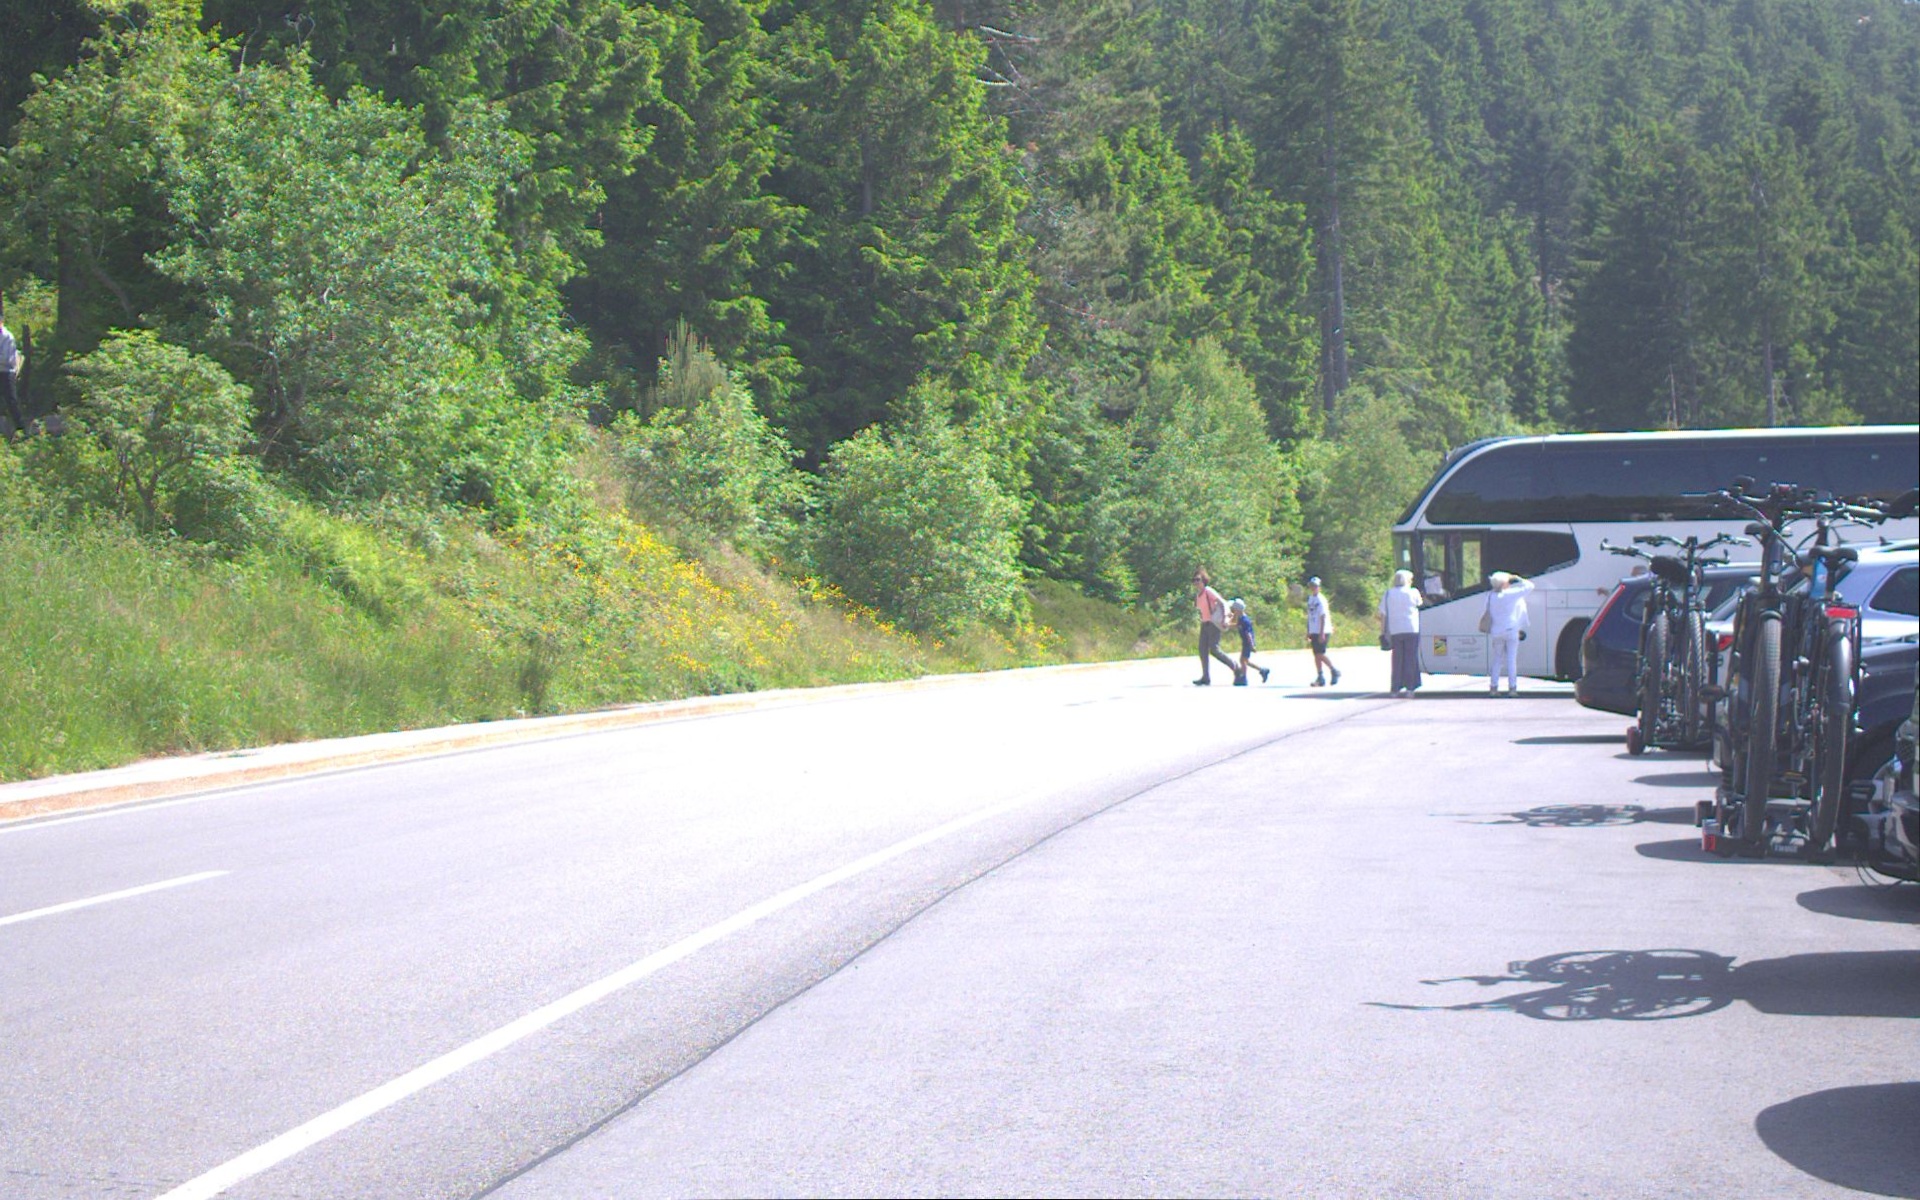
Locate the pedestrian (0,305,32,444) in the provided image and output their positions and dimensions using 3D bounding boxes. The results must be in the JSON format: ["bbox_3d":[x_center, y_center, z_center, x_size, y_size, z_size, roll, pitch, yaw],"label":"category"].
[{"bbox_3d":[-13.128,-3.080,47.057,0.680,1.871,0.542,-2,0,-25],"label":"pedestrian"}]

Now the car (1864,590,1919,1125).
[{"bbox_3d":[4.508,0.697,8.549,4.081,1.372,1.702,1,0,3],"label":"car"}]

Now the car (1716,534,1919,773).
[{"bbox_3d":[7.234,0.305,23.300,3.988,1.548,1.659,-2,0,9],"label":"car"}]

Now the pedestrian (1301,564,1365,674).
[{"bbox_3d":[5.476,0.277,50.531,0.854,1.580,0.818,-2,0,3],"label":"pedestrian"}]

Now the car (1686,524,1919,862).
[{"bbox_3d":[5.753,0.377,16.630,4.245,1.548,1.837,-2,0,9],"label":"car"}]

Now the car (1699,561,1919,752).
[{"bbox_3d":[7.830,0.390,26.626,3.988,1.393,1.619,-2,0,9],"label":"car"}]

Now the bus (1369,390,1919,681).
[{"bbox_3d":[12.126,-0.888,44.668,13.105,3.520,3.041,-2,0,19],"label":"bus"}]

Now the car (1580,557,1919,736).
[{"bbox_3d":[7.482,0.377,30.024,3.988,1.444,1.860,-2,0,9],"label":"car"}]

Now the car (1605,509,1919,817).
[{"bbox_3d":[6.282,0.287,19.535,5.035,1.645,2.047,-2,0,9],"label":"car"}]

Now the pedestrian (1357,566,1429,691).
[{"bbox_3d":[5.611,0.364,44.518,0.771,1.580,0.772,-2,0,16],"label":"pedestrian"}]

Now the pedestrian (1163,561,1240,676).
[{"bbox_3d":[3.625,0.275,51.683,0.853,1.677,0.870,-2,0,-17],"label":"pedestrian"}]

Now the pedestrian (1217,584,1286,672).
[{"bbox_3d":[4.317,0.414,50.989,0.733,1.275,0.783,-2,0,-19],"label":"pedestrian"}]

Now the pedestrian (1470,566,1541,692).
[{"bbox_3d":[6.997,0.369,44.062,0.771,1.580,0.772,-2,0,16],"label":"pedestrian"}]

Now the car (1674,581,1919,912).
[{"bbox_3d":[5.177,0.530,14.178,4.245,1.264,1.837,-2,0,9],"label":"car"}]

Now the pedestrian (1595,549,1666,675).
[{"bbox_3d":[8.590,0.144,44.027,0.770,1.580,0.772,-2,0,17],"label":"pedestrian"}]

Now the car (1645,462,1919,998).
[{"bbox_3d":[4.832,0.364,11.464,4.951,1.690,1.944,-1,0,11],"label":"car"}]
